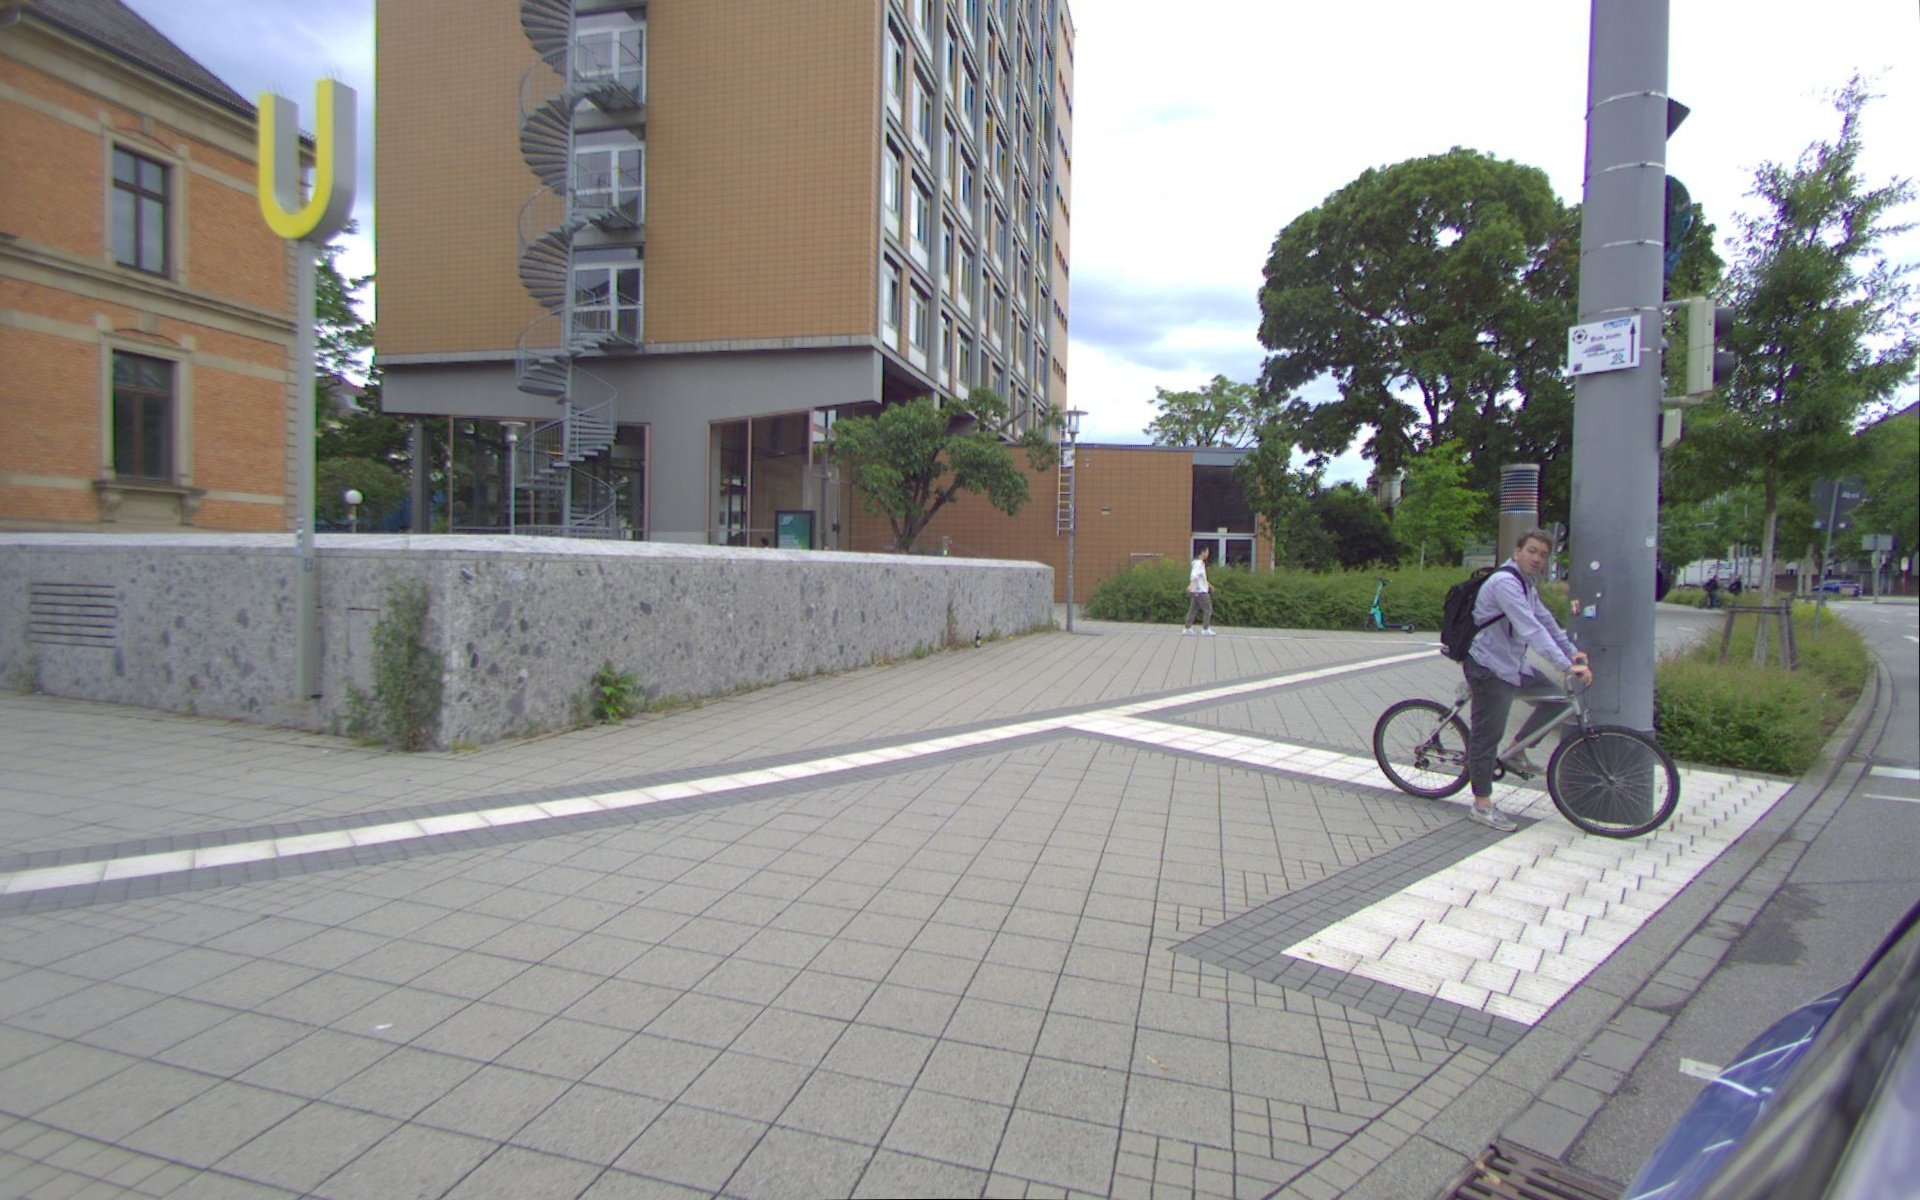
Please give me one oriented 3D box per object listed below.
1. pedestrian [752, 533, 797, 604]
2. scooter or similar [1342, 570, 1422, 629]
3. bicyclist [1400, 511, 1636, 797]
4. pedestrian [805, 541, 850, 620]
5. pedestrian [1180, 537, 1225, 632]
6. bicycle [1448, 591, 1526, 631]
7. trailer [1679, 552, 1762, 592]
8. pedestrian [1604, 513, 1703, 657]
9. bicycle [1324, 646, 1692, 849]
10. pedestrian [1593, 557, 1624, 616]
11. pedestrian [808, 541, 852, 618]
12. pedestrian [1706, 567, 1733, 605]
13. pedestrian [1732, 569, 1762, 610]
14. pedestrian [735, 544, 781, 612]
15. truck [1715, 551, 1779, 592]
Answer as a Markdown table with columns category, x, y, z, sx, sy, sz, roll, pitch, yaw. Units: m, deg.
| category | x | y | z | sx | sy | sz | roll | pitch | yaw |
| --- | --- | --- | --- | --- | --- | --- | --- | --- | --- |
| pedestrian | -4.729 | -0.809 | 25.807 | 0.863 | 1.758 | 0.719 | 1 | 1 | 21 |
| scooter or similar | 9.614 | -0.022 | 23.098 | 1.580 | 1.306 | 0.692 | 0 | 1 | 13 |
| bicyclist | 3.342 | 0.270 | 6.074 | 1.096 | 1.539 | 0.749 | 2 | 2 | 40 |
| pedestrian | -2.989 | -0.446 | 22.827 | 0.859 | 1.752 | 0.723 | 1 | 1 | 6 |
| pedestrian | 4.815 | -0.320 | 20.089 | 0.696 | 1.827 | 0.832 | 1 | 1 | 24 |
| bicycle | 11.908 | 0.233 | 22.855 | 2.032 | 0.859 | 0.559 | 0 | 2 | -31 |
| trailer | 83.967 | -3.038 | 112.086 | 2.908 | 4.064 | 13.735 | 0 | 1 | 17 |
| pedestrian | 9.661 | -0.218 | 14.128 | 0.860 | 1.952 | 0.722 | 1 | 1 | 11 |
| bicycle | 3.261 | 0.809 | 6.132 | 1.819 | 0.850 | 0.756 | 5 | 4 | 40 |
| pedestrian | 20.594 | -0.422 | 32.136 | 0.628 | 1.822 | 0.589 | 6 | 4 | 40 |
| pedestrian | -3.023 | -0.485 | 23.640 | 0.859 | 1.764 | 0.723 | 1 | 1 | 6 |
| pedestrian | 37.546 | -0.702 | 50.022 | 0.707 | 1.822 | 0.598 | 3 | 3 | -3 |
| pedestrian | 35.977 | -0.492 | 46.257 | 0.707 | 1.822 | 0.598 | 3 | 3 | -3 |
| pedestrian | -4.974 | -0.549 | 24.981 | 0.863 | 1.651 | 0.719 | 1 | 1 | 21 |
| truck | 81.920 | -2.937 | 105.486 | 2.875 | 4.075 | 7.121 | 0 | 1 | 18 |
